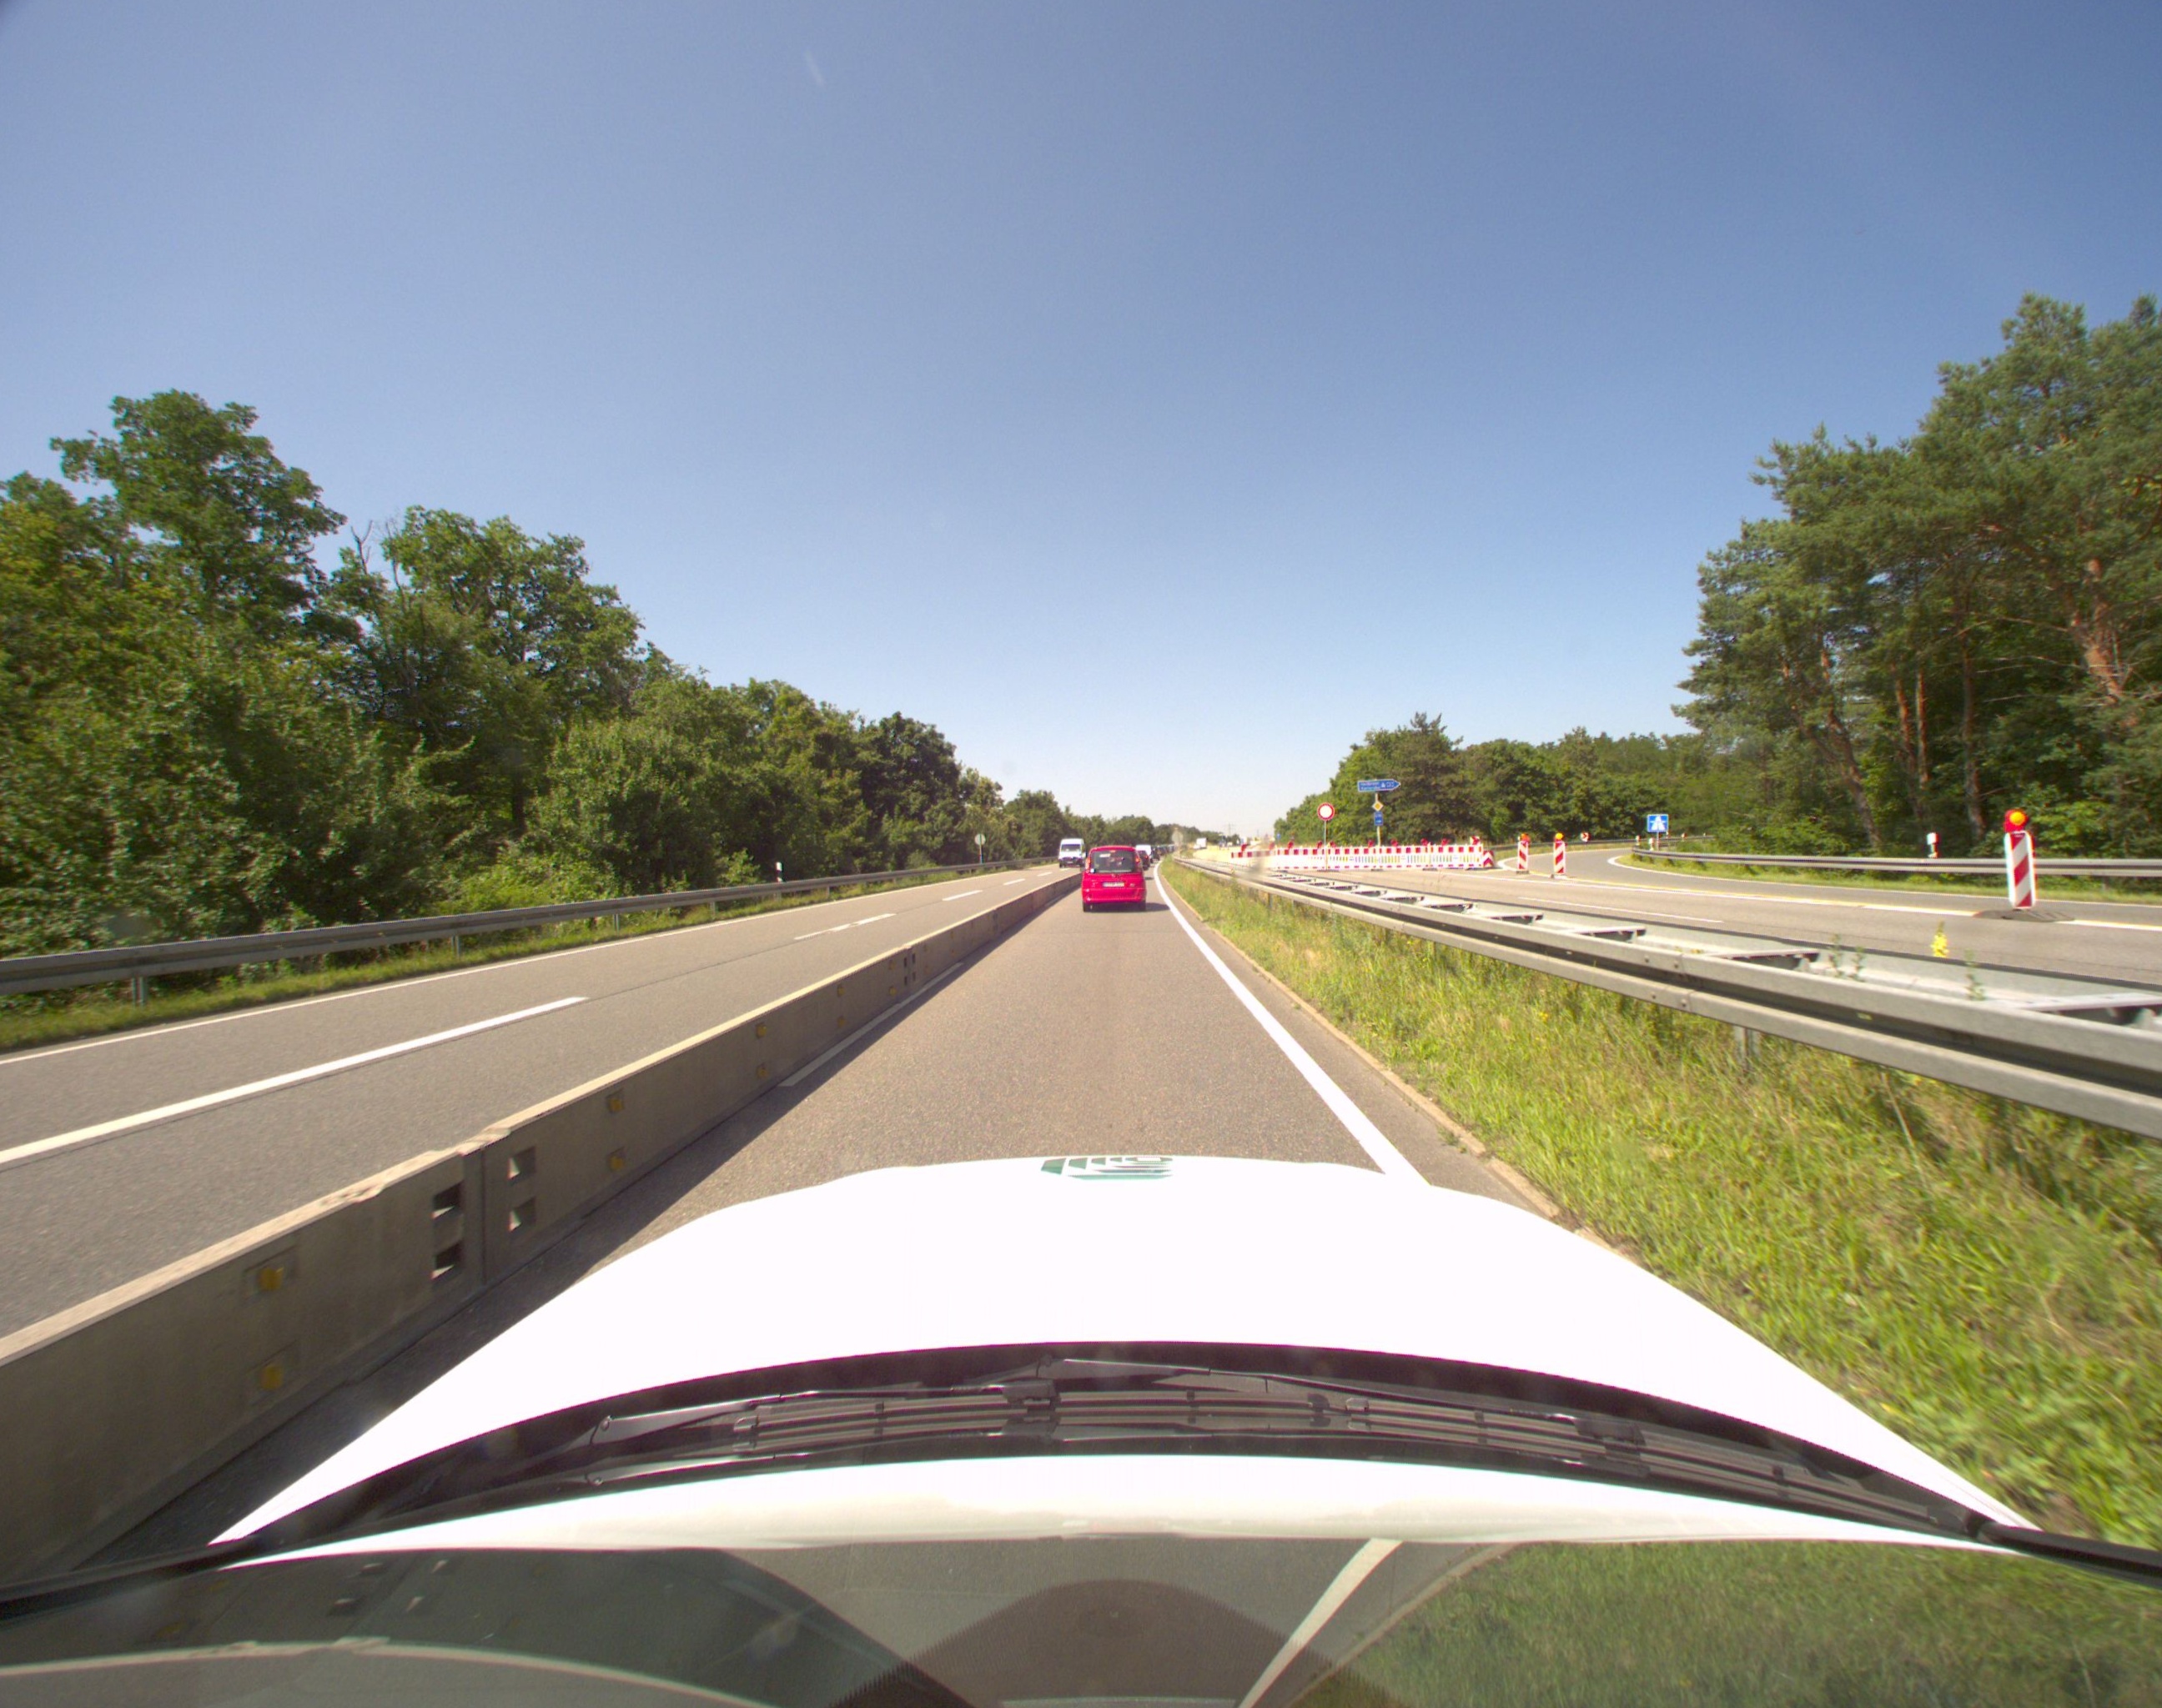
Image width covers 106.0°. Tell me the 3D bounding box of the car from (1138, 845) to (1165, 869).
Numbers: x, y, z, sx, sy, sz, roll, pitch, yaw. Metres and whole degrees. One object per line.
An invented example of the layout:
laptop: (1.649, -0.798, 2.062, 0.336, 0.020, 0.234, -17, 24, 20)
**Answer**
car: (5.892, 0.255, 67.522, 1.983, 1.838, 4.008, -2, 0, 7)

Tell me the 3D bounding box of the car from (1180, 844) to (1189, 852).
car: (24.184, -1.396, 189.701, 1.982, 1.552, 4.010, -2, 0, 9)

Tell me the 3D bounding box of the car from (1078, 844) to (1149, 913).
car: (0.949, 0.599, 22.062, 1.744, 1.673, 4.005, -1, 0, 4)

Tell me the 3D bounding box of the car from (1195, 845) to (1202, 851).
car: (32.038, -1.547, 222.285, 1.982, 1.486, 4.009, -2, 0, 8)

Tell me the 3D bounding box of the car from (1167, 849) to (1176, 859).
car: (16.583, -0.070, 148.950, 1.493, 1.736, 3.178, -2, 0, 9)

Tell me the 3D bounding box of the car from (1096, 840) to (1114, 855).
car: (2.771, -0.705, 93.668, 1.841, 1.601, 4.325, -2, 0, 3)

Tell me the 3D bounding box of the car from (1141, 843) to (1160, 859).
car: (8.143, -0.364, 96.158, 1.986, 1.750, 4.001, -2, 0, 1)

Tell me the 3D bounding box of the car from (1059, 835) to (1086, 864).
car: (-0.704, -0.383, 72.056, 2.053, 2.485, 5.564, -1, 0, 3)

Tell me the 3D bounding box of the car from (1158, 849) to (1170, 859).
car: (13.938, -0.017, 136.657, 1.983, 1.585, 4.008, -2, 0, 7)

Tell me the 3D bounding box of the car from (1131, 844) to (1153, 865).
car: (6.132, 0.009, 82.145, 1.986, 2.003, 4.001, -2, 0, 1)

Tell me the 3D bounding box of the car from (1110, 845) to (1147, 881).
car: (2.483, 0.438, 42.811, 1.823, 1.722, 4.003, -2, 0, 3)

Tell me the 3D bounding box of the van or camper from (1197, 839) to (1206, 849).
van or camper: (34.596, -2.900, 234.532, 2.316, 2.706, 4.602, -2, 0, 7)

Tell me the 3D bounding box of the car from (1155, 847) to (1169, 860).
car: (11.839, -0.035, 119.420, 1.984, 1.783, 4.005, -2, 0, 4)
